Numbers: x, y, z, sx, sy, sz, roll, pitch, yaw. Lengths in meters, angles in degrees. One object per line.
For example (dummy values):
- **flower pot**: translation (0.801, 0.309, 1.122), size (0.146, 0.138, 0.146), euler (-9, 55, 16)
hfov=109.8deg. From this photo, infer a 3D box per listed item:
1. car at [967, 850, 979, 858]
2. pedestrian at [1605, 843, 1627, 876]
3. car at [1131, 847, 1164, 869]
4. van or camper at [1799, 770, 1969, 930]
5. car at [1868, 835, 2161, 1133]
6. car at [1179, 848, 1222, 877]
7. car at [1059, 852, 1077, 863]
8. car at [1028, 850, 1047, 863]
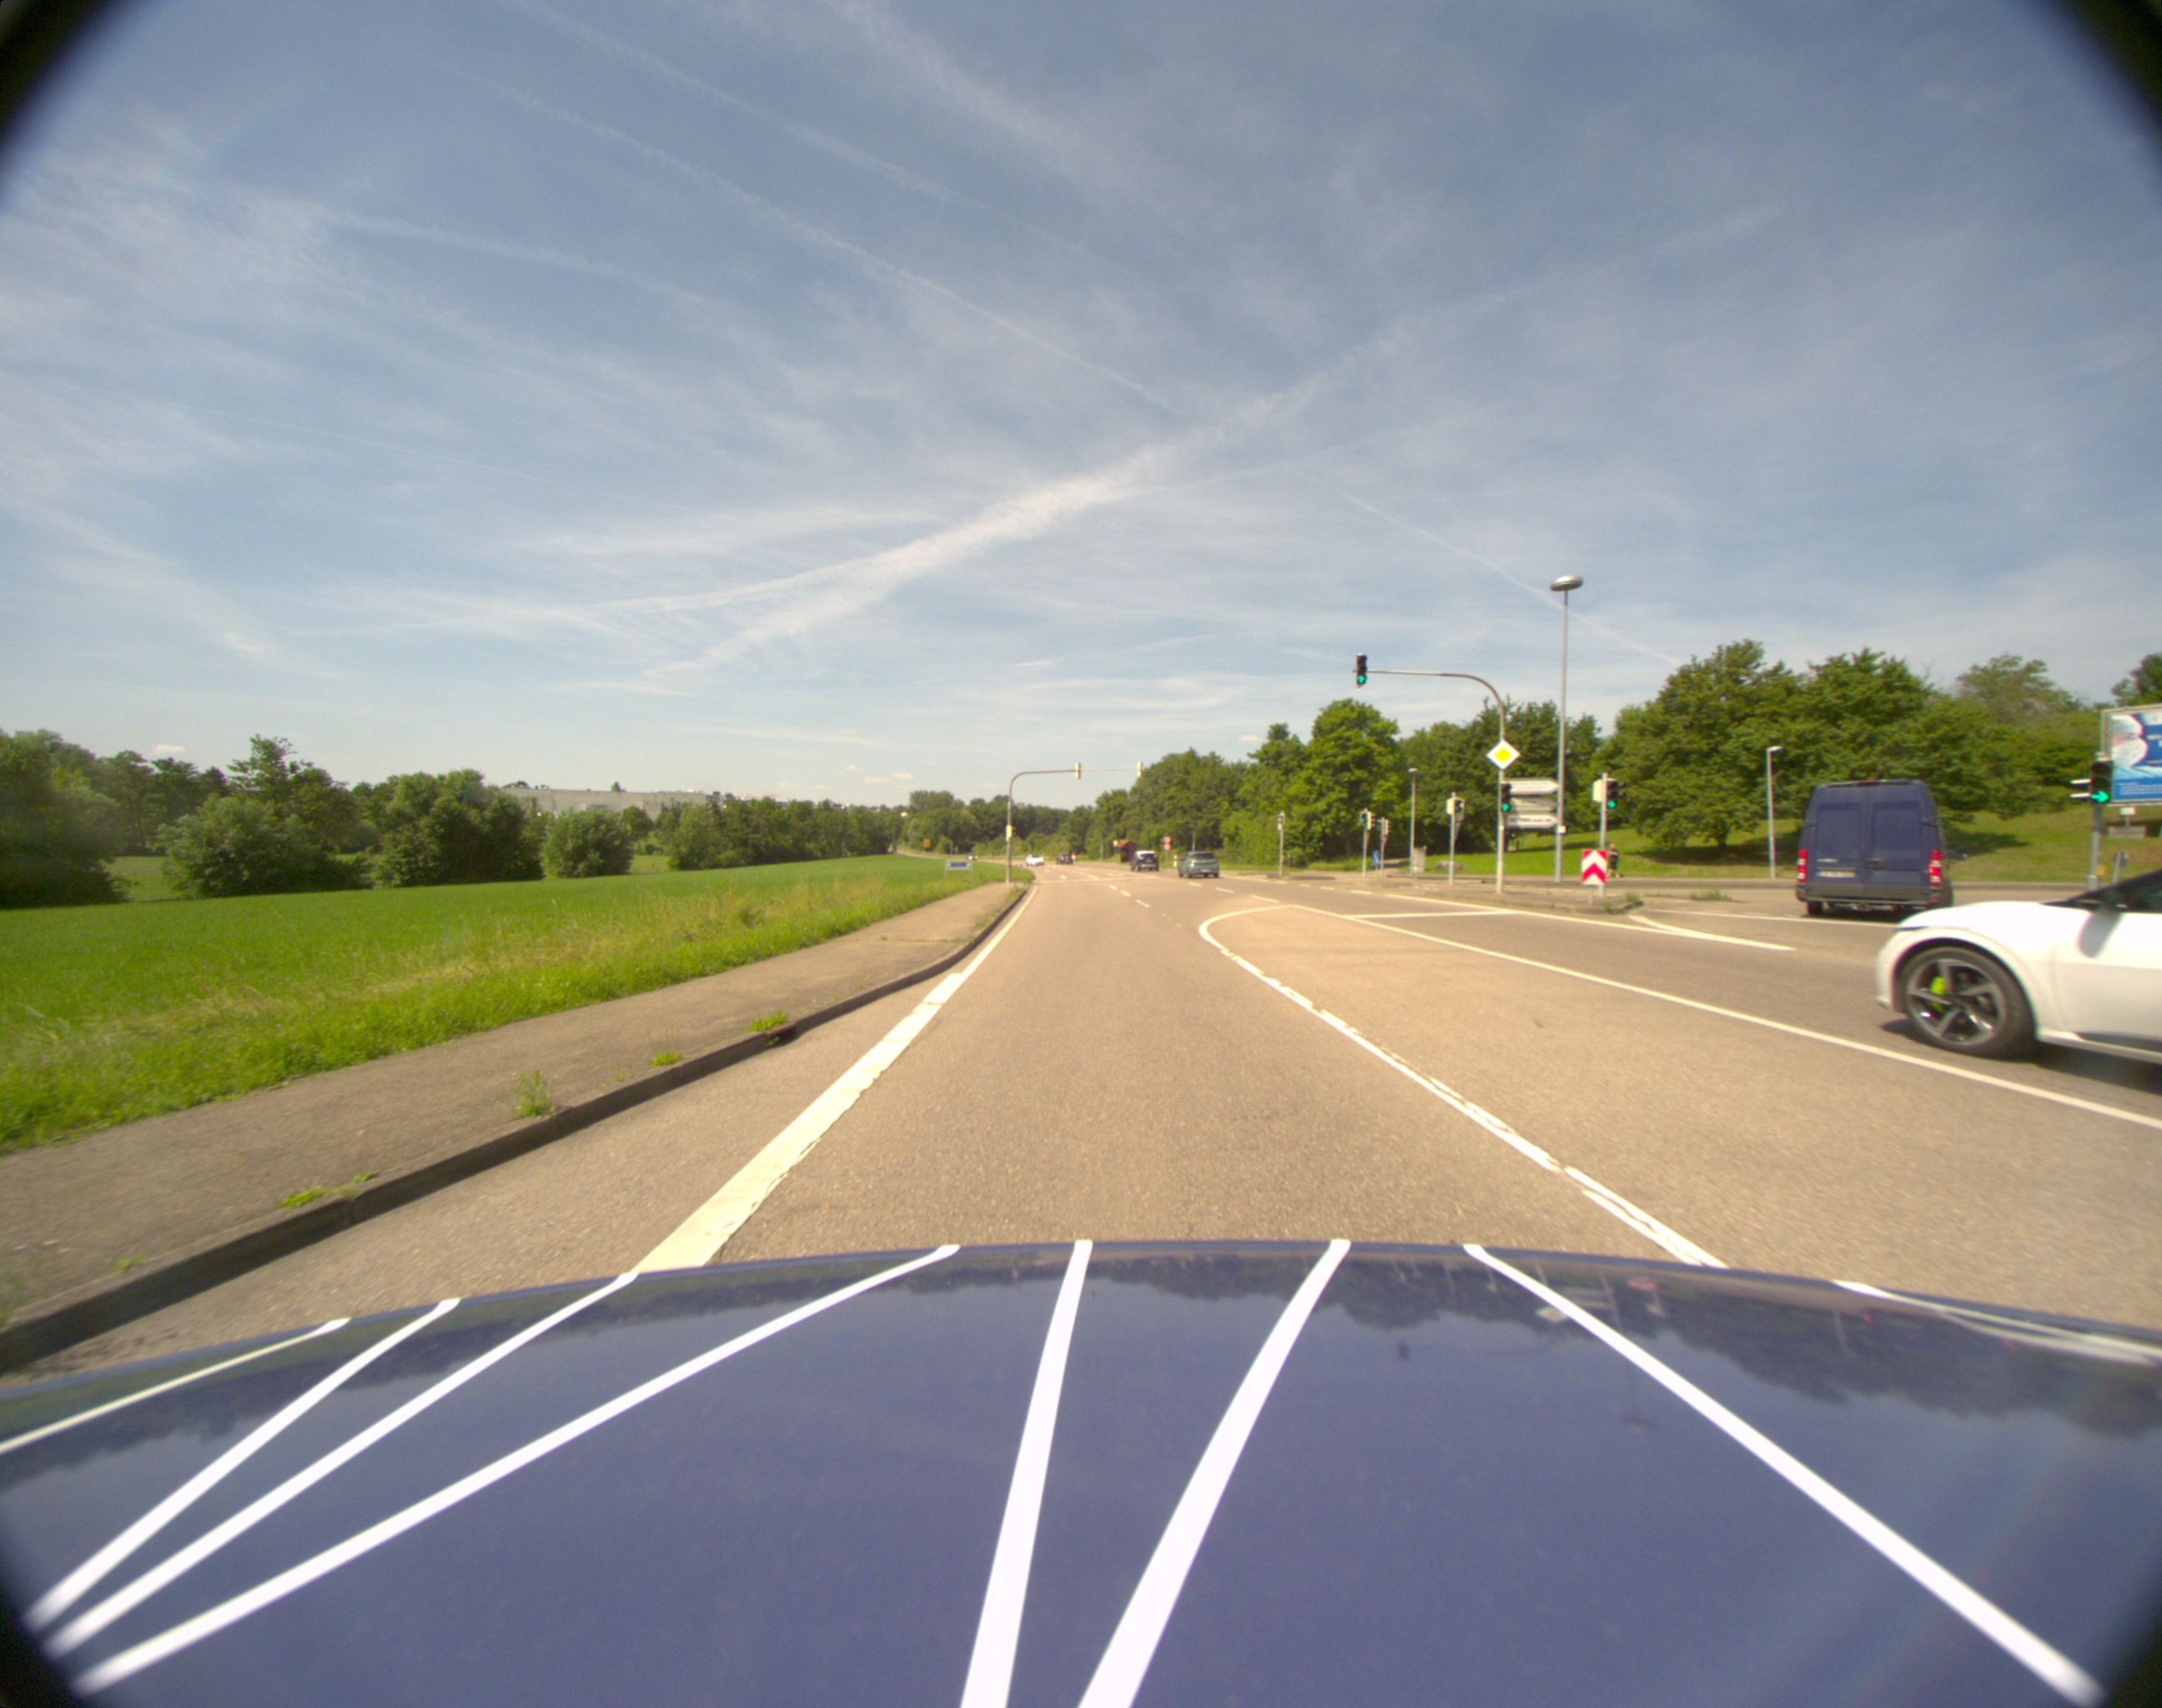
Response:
- **car**: translation (-23.021, 0.056, 162.367), size (2.001, 1.576, 3.994), euler (-2, 1, -16)
- **pedestrian**: translation (28.810, 0.291, 40.908), size (0.919, 1.726, 0.901), euler (-1, 1, 33)
- **car**: translation (5.221, 0.289, 60.047), size (1.979, 1.553, 4.187), euler (-2, 1, -3)
- **van or camper**: translation (18.034, 0.001, 16.988), size (7.263, 2.896, 2.240), euler (2, -1, -42)
- **car**: translation (6.683, 0.697, 3.260), size (1.942, 1.539, 4.628), euler (-2, 1, 3)
- **car**: translation (6.694, 0.446, 42.994), size (1.711, 1.474, 3.831), euler (-2, 1, -1)
- **car**: translation (-1.763, 0.432, 102.138), size (1.797, 1.466, 4.306), euler (-2, 1, -11)
- **car**: translation (-5.816, 0.273, 100.872), size (2.000, 1.576, 3.996), euler (-2, 1, -9)
